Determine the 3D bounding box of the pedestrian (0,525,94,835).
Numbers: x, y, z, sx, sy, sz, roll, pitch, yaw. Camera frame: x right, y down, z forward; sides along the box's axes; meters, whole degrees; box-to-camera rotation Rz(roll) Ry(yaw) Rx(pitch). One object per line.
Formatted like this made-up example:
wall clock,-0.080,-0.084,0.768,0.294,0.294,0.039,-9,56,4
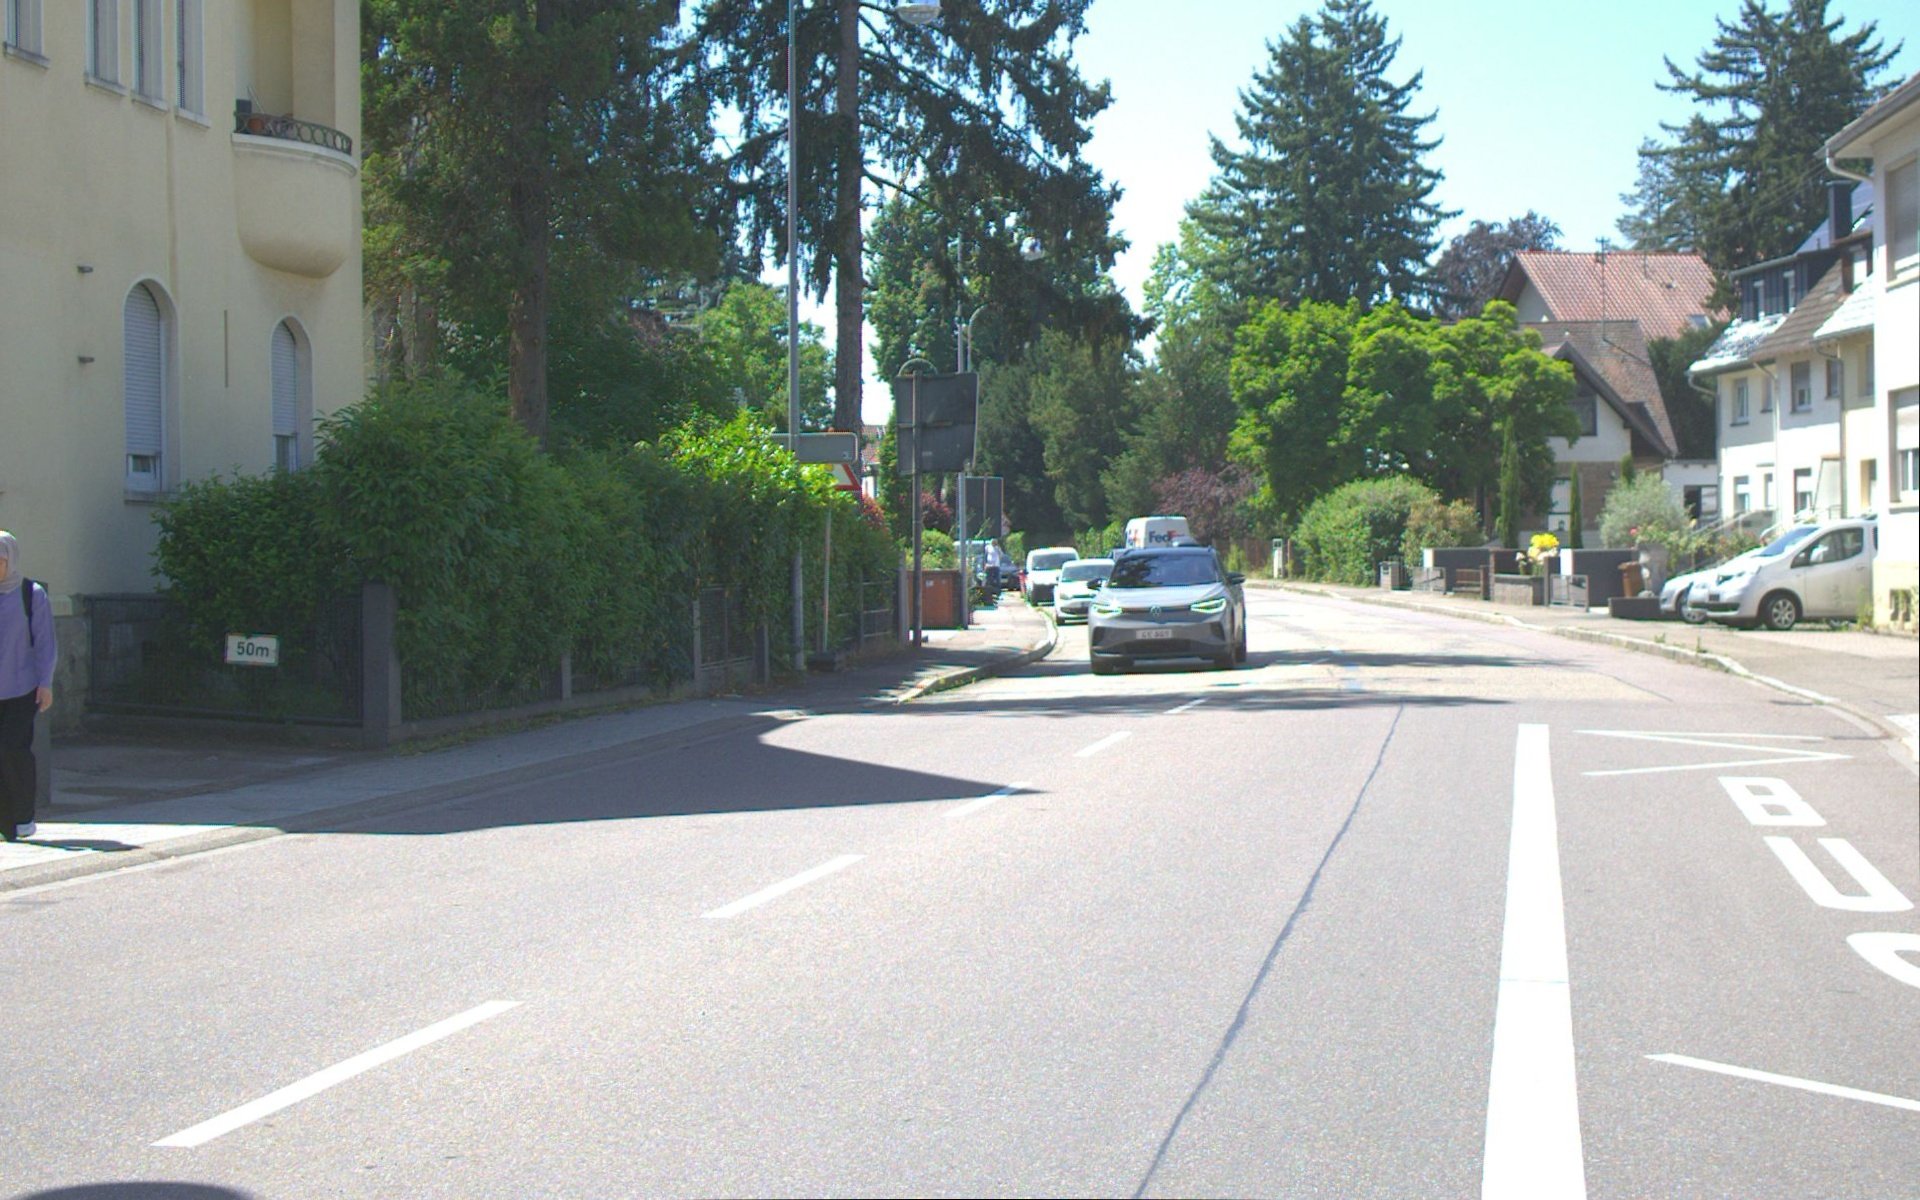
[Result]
pedestrian,-4.958,0.396,17.852,0.613,1.559,0.824,1,1,7

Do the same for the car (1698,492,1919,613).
car,14.320,-0.764,55.591,4.289,1.824,1.740,2,2,-5

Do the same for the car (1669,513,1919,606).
car,14.529,-0.687,58.348,4.640,1.404,1.769,2,2,4

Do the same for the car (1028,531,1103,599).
car,2.407,-0.820,79.111,1.578,1.418,3.941,-3,2,1

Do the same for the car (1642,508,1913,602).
car,14.519,-0.810,61.133,4.299,1.542,1.753,2,0,35

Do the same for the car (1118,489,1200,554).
car,7.421,-2.944,128.897,2.143,2.307,4.854,-3,2,-7

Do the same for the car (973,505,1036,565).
car,1.370,-2.010,106.680,1.723,1.730,3.887,-3,1,-1

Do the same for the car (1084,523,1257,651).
car,2.845,-0.210,45.618,1.854,1.611,4.295,0,1,9

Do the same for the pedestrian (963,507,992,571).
pedestrian,0.539,-1.857,105.046,0.689,1.883,1.018,4,1,4
